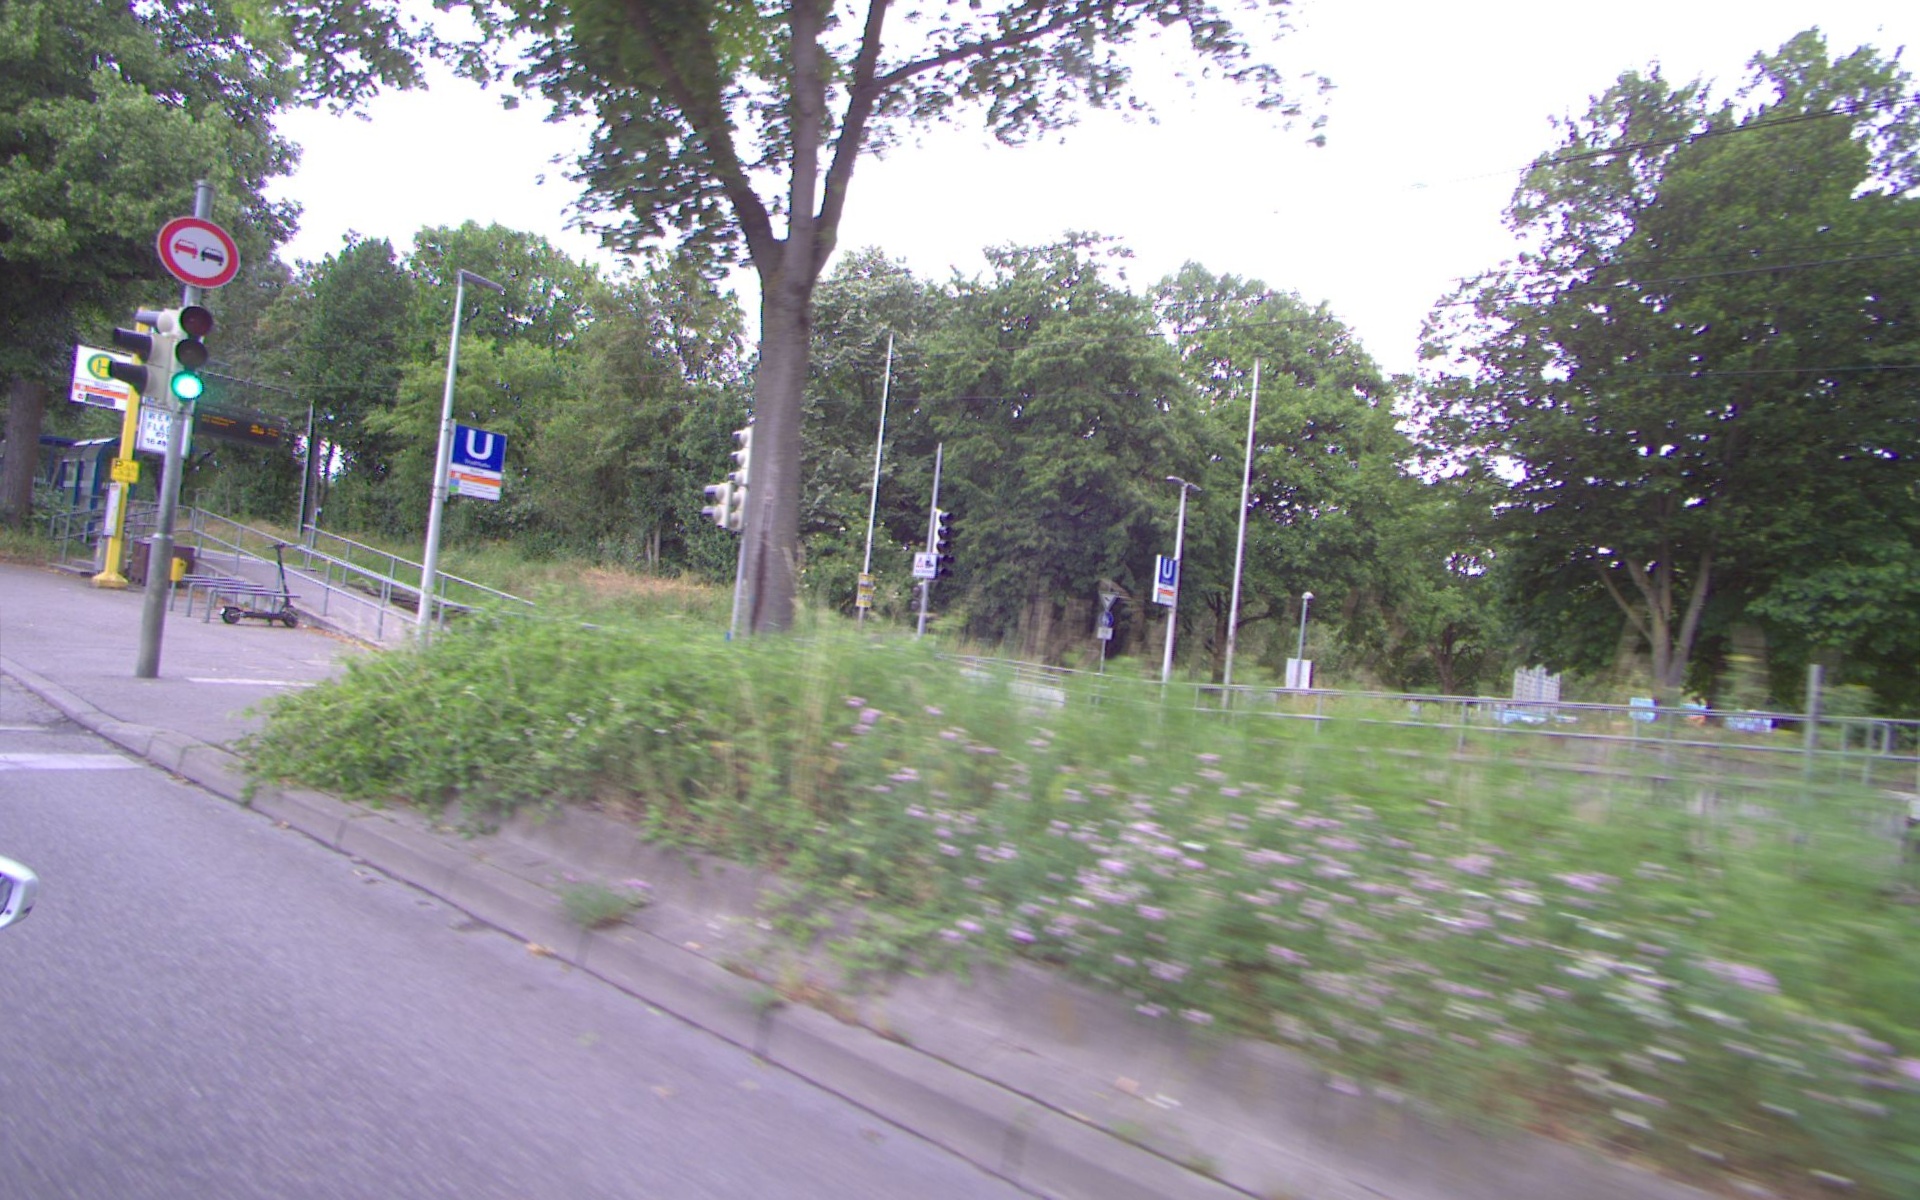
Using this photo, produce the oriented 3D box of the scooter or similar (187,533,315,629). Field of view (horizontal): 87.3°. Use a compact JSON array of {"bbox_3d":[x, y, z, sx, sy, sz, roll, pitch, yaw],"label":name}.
[{"bbox_3d":[-10.516,-0.253,14.980,0.476,1.257,1.460,7,-2,14],"label":"scooter or similar"}]
